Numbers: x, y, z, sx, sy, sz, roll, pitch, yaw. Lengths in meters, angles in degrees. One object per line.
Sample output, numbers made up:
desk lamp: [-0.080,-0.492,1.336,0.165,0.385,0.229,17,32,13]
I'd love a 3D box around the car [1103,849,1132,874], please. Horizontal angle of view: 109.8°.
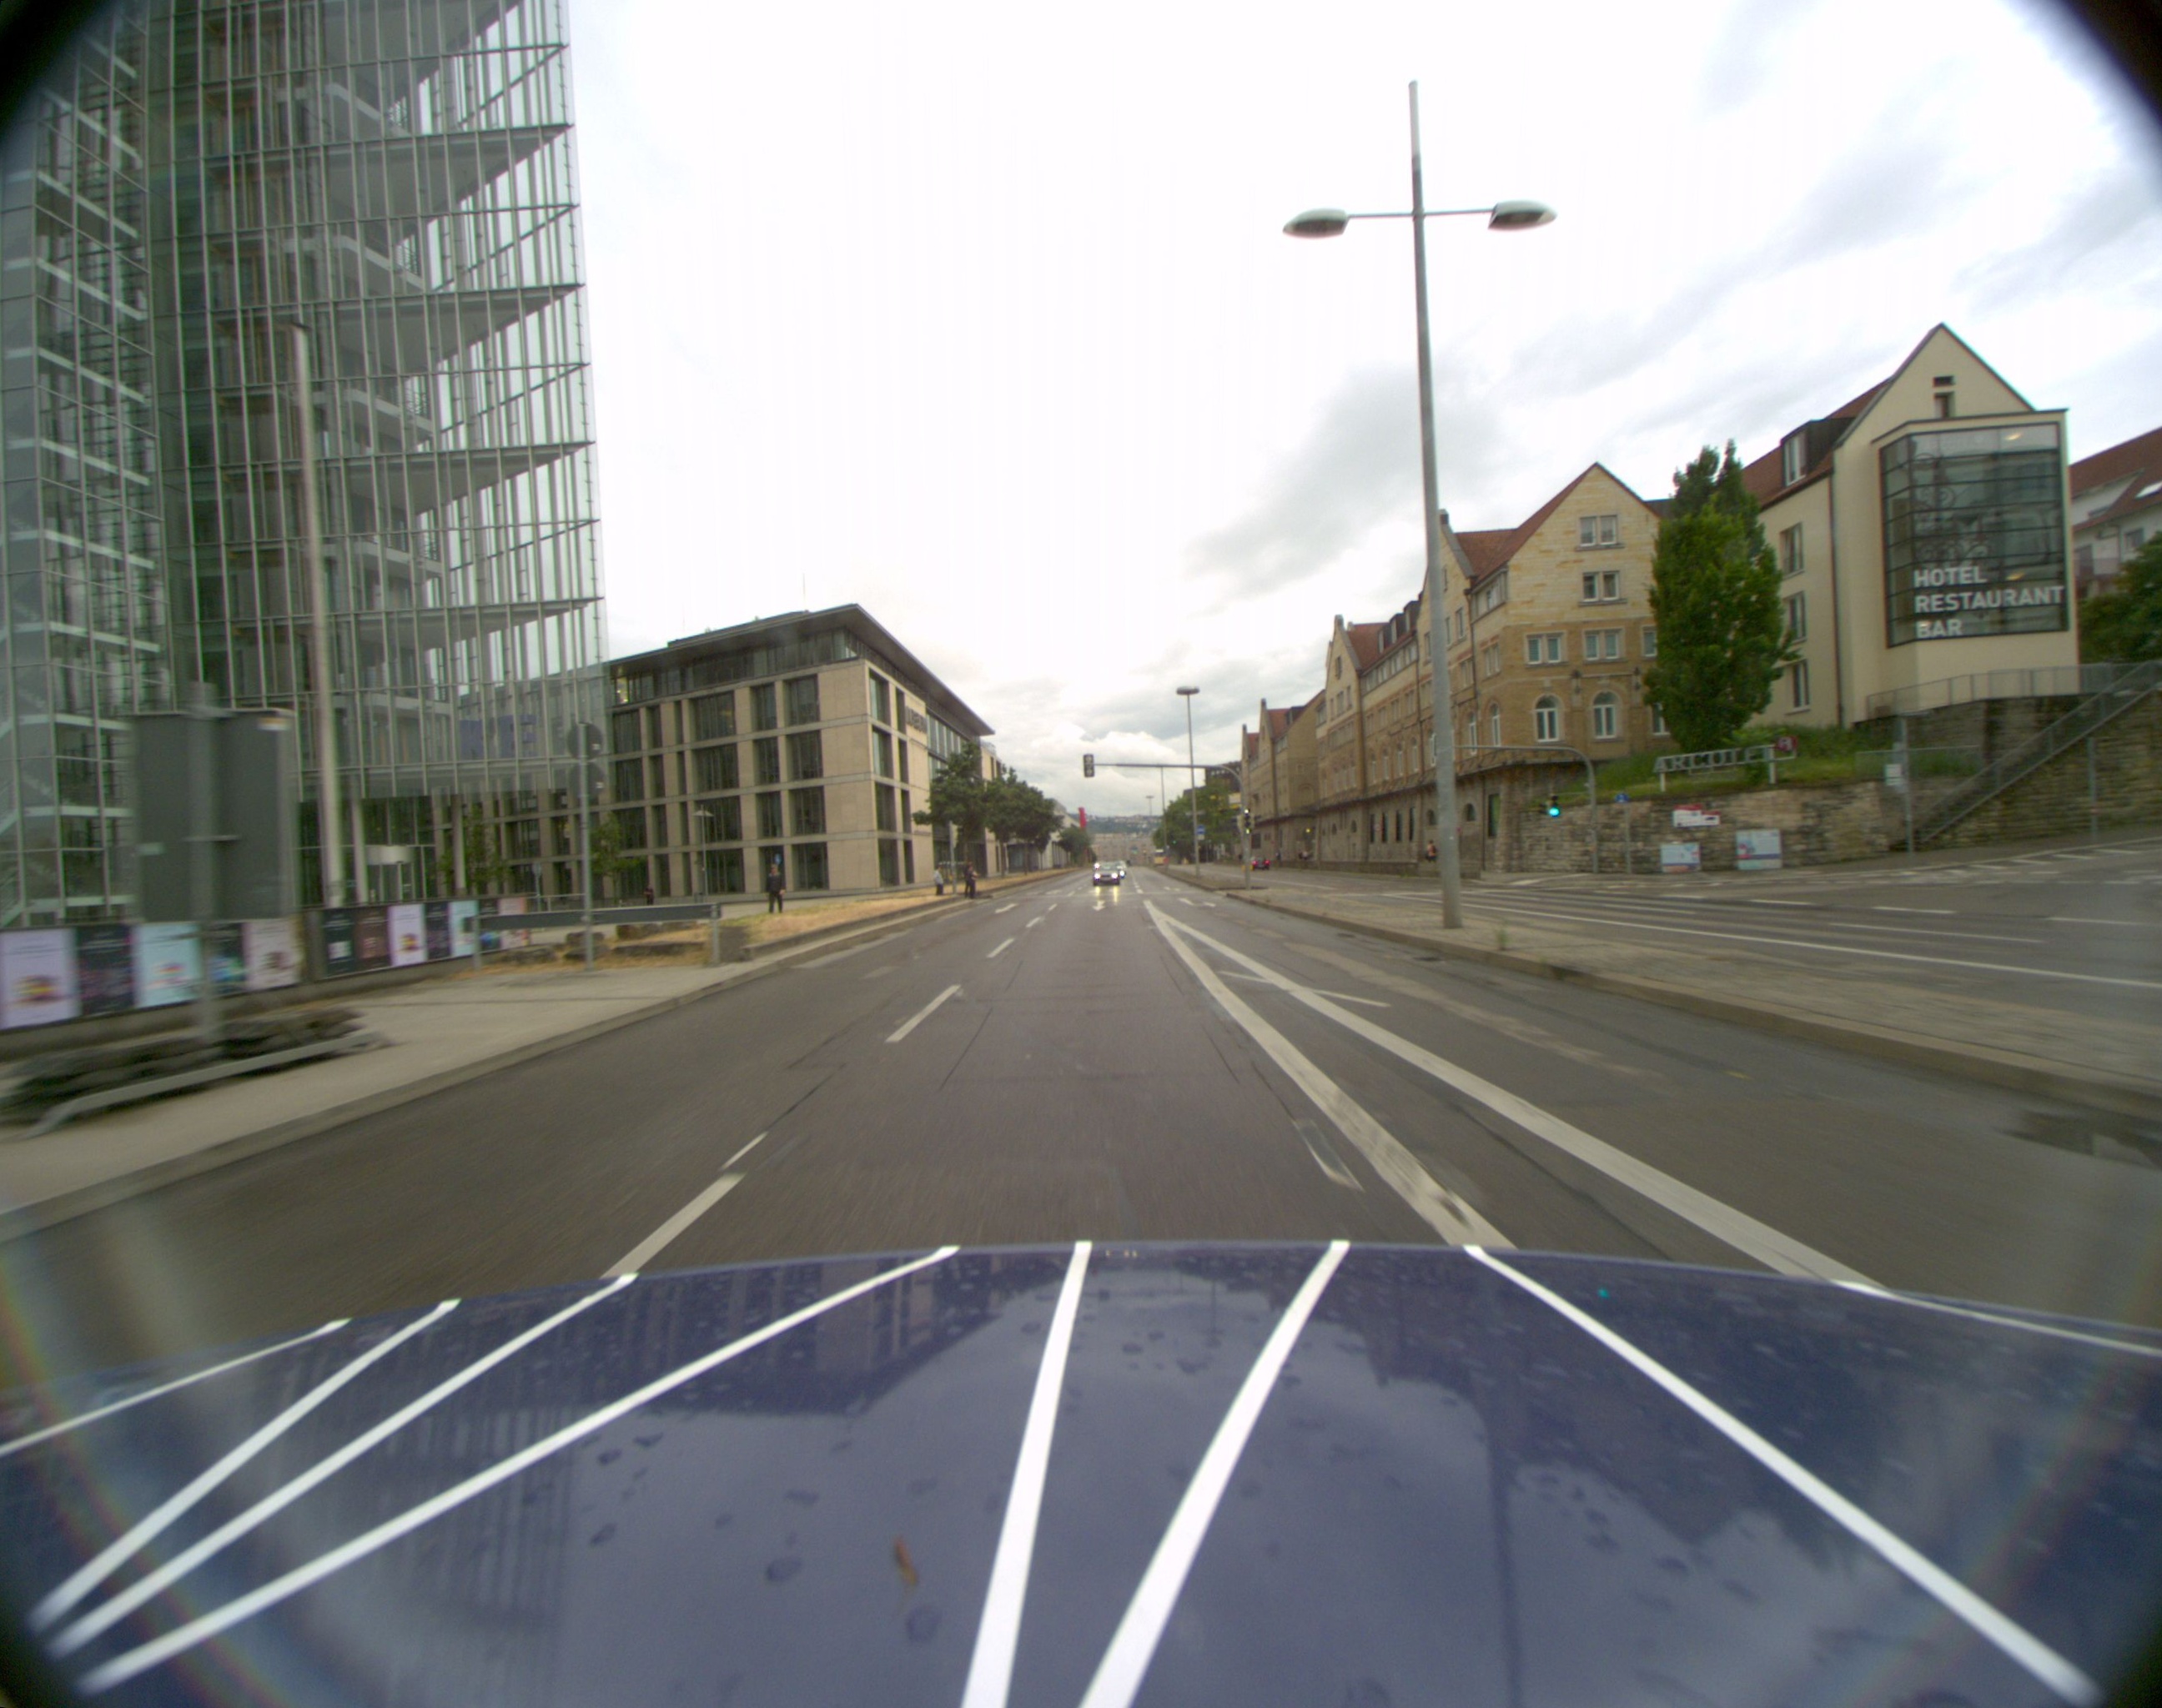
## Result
car: [3.104,0.630,65.677,1.999,2.002,3.998,-2,1,-4]

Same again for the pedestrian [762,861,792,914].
pedestrian: [-9.502,1.037,23.737,0.662,1.601,0.546,-3,0,-40]

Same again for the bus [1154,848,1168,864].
bus: [17.838,0.492,169.444,2.499,3.320,8.446,-3,1,3]

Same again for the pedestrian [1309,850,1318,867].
pedestrian: [25.083,0.490,81.929,0.677,1.769,0.684,-2,1,3]

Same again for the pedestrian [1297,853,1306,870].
pedestrian: [22.535,0.770,77.672,0.677,1.769,0.684,-2,1,3]

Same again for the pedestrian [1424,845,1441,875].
pedestrian: [21.102,0.341,45.644,0.677,1.769,0.684,-2,1,3]

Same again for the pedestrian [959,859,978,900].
pedestrian: [-4.988,1.102,33.605,0.728,1.761,0.783,-2,1,-6]

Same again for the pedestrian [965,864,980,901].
pedestrian: [-4.631,1.205,32.473,0.542,1.519,0.600,-2,1,-6]

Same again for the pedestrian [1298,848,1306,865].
pedestrian: [23.803,0.303,81.930,0.677,1.769,0.684,-2,1,3]

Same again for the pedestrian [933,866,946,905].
pedestrian: [-5.942,1.320,31.832,0.461,1.590,0.656,-2,1,-9]

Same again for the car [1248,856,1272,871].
car: [18.402,0.974,78.355,1.714,1.455,4.002,-3,-1,4]

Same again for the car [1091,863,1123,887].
car: [1.663,1.365,49.684,1.684,1.379,3.474,-2,1,-3]

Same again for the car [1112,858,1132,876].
car: [4.508,1.469,83.665,1.970,1.815,3.929,-3,-1,3]

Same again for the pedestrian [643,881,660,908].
pedestrian: [-28.120,2.635,49.716,0.634,1.735,0.635,-2,1,23]

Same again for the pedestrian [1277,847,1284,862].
pedestrian: [24.087,0.073,91.771,0.677,1.769,0.684,-2,1,3]
